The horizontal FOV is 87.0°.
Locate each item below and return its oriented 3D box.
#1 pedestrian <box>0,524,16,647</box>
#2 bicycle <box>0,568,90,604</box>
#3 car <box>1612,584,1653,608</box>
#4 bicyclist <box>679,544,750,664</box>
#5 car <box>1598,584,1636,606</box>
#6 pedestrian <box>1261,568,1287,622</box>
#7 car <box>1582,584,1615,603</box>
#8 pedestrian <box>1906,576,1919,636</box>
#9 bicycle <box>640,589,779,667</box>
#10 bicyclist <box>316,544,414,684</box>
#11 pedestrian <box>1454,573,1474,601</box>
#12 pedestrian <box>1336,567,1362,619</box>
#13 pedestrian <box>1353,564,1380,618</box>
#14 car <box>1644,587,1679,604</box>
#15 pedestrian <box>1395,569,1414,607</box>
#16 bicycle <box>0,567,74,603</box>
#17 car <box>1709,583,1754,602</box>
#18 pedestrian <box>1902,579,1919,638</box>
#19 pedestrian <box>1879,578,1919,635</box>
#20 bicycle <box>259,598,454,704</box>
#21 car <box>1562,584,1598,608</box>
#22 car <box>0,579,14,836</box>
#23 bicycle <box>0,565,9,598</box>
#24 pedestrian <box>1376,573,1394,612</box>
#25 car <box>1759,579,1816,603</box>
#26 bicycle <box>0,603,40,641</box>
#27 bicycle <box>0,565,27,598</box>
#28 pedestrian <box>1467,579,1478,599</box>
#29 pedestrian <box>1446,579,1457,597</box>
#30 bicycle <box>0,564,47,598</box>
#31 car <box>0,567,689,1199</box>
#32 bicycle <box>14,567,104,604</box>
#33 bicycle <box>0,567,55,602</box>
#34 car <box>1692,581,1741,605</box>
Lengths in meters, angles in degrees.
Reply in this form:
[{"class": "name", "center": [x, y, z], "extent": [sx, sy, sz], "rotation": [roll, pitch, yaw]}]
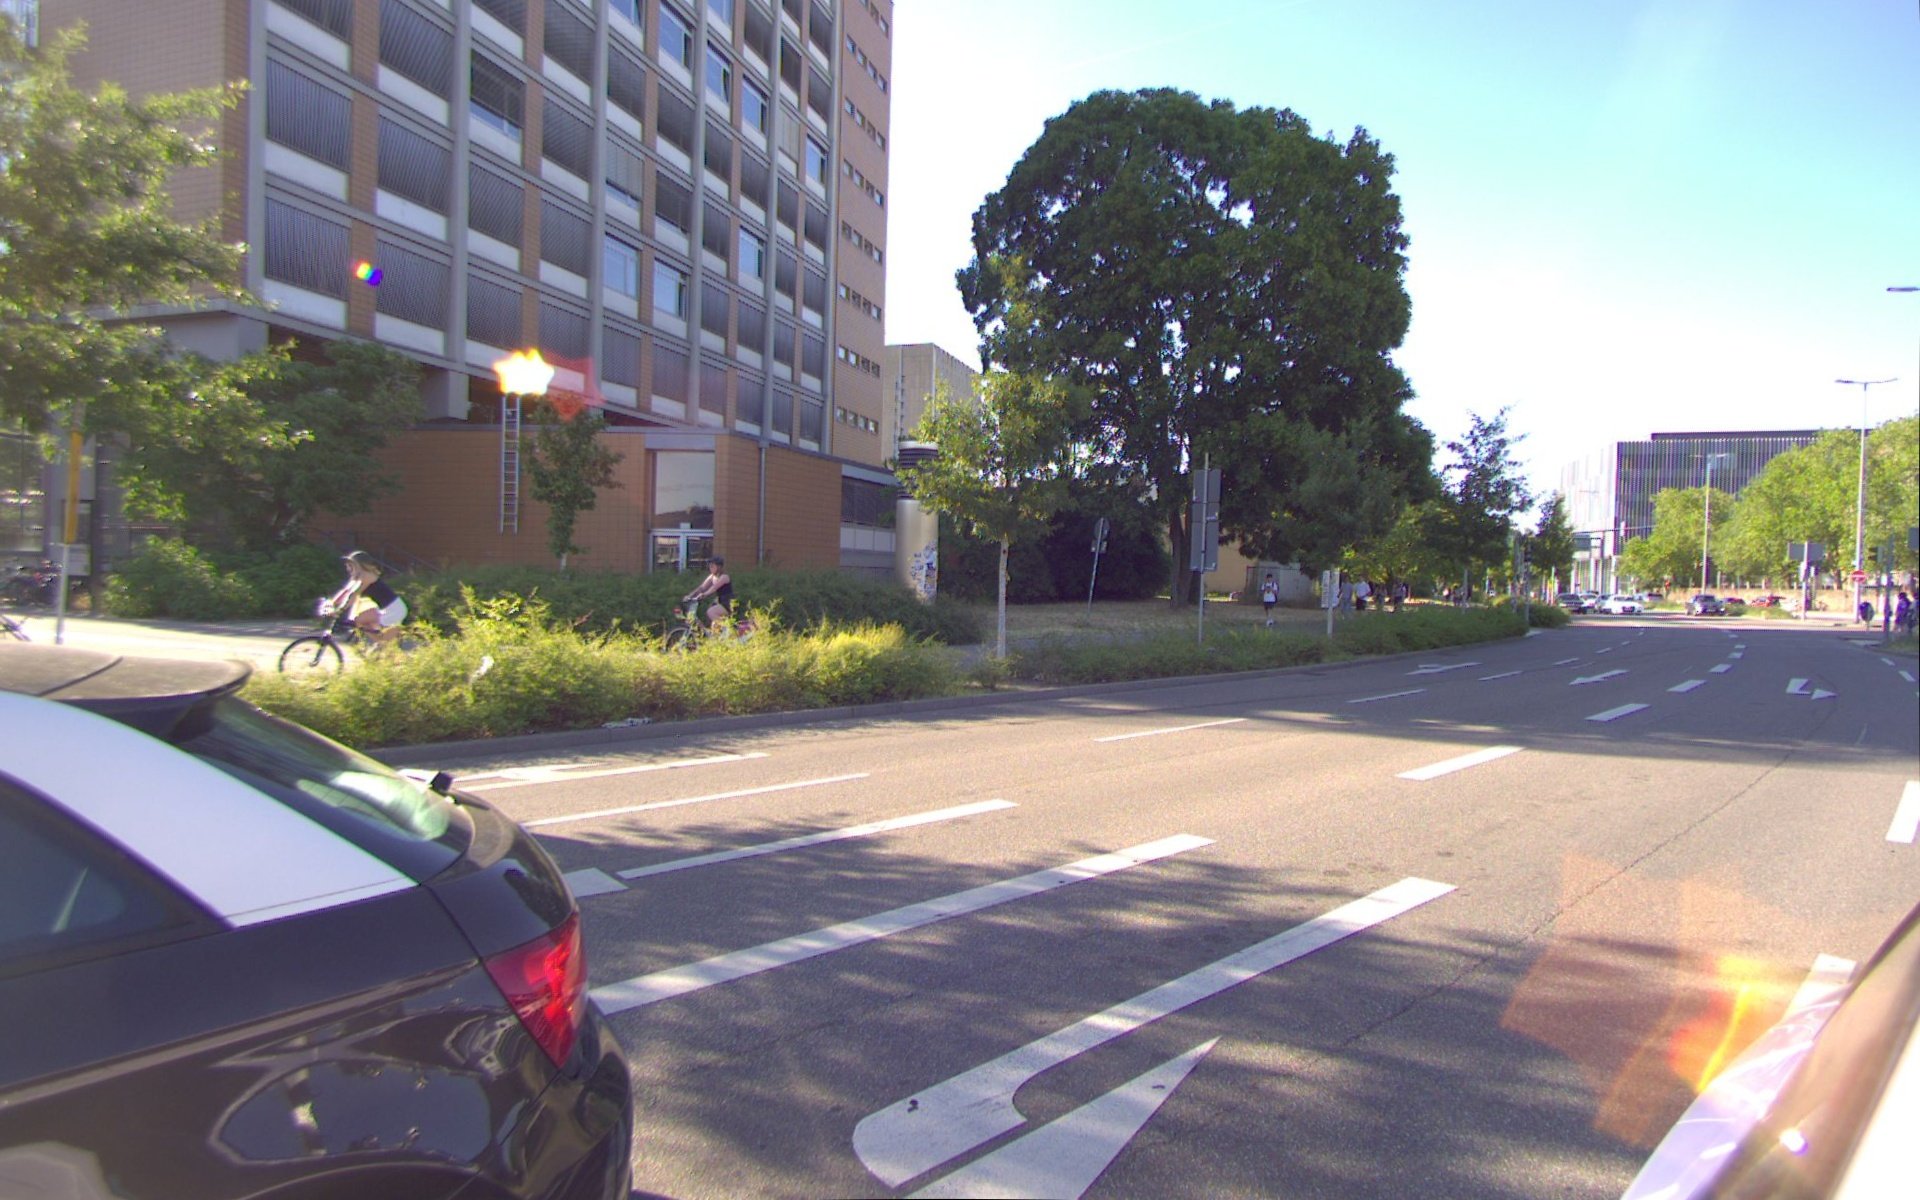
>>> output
[{"class": "pedestrian", "center": [-13.546, -0.194, 13.783], "extent": [0.774, 1.680, 0.810], "rotation": [0, -1, -24]}, {"class": "bicycle", "center": [-22.829, -0.364, 25.273], "extent": [0.522, 0.868, 1.644], "rotation": [2, 2, 18]}, {"class": "car", "center": [47.422, -0.290, 71.436], "extent": [1.786, 1.538, 4.391], "rotation": [2, 2, 26]}, {"class": "bicyclist", "center": [-3.846, 0.055, 15.839], "extent": [0.835, 1.810, 0.716], "rotation": [0, 0, -43]}, {"class": "car", "center": [50.591, -0.425, 77.986], "extent": [1.907, 1.538, 3.981], "rotation": [2, 2, 26]}, {"class": "pedestrian", "center": [10.161, -0.177, 32.717], "extent": [0.618, 1.720, 0.623], "rotation": [2, 1, 32]}, {"class": "car", "center": [53.154, -0.557, 84.314], "extent": [1.907, 1.538, 3.981], "rotation": [2, 2, 26]}, {"class": "pedestrian", "center": [28.868, 0.193, 30.139], "extent": [0.923, 1.762, 0.746], "rotation": [2, 1, 39]}, {"class": "bicycle", "center": [-3.880, 0.407, 15.800], "extent": [2.032, 1.135, 0.718], "rotation": [-1, 0, -43]}, {"class": "bicyclist", "center": [-6.995, 0.159, 11.892], "extent": [0.834, 1.568, 0.716], "rotation": [2, -1, -41]}, {"class": "pedestrian", "center": [32.559, -0.838, 65.391], "extent": [1.005, 1.771, 0.845], "rotation": [2, 1, 18]}, {"class": "pedestrian", "center": [14.234, -0.268, 37.074], "extent": [0.609, 1.892, 0.578], "rotation": [1, 1, -15]}, {"class": "pedestrian", "center": [14.675, -0.330, 36.527], "extent": [0.609, 1.892, 0.578], "rotation": [1, 1, -15]}, {"class": "car", "center": [74.038, -0.466, 106.851], "extent": [2.171, 1.704, 4.570], "rotation": [2, 2, 24]}, {"class": "pedestrian", "center": [20.743, -0.583, 47.243], "extent": [0.667, 1.725, 0.872], "rotation": [2, 1, 18]}, {"class": "bicycle", "center": [-23.379, -0.381, 25.436], "extent": [0.522, 0.868, 1.644], "rotation": [2, 2, 18]}, {"class": "car", "center": [70.216, -0.672, 92.184], "extent": [2.172, 1.606, 4.567], "rotation": [2, 0, 24]}, {"class": "pedestrian", "center": [29.354, 0.261, 30.765], "extent": [0.923, 1.762, 0.746], "rotation": [2, 2, 39]}, {"class": "pedestrian", "center": [29.919, 0.200, 32.174], "extent": [0.923, 1.762, 0.746], "rotation": [2, 1, 39]}, {"class": "bicycle", "center": [-7.037, 0.581, 11.851], "extent": [1.836, 1.135, 0.718], "rotation": [2, -1, -41]}, {"class": "car", "center": [43.958, -0.307, 71.862], "extent": [1.786, 1.538, 3.964], "rotation": [2, 2, 26]}, {"class": "car", "center": [-6.933, 0.621, 4.474], "extent": [3.908, 1.462, 1.804], "rotation": [0, 0, -40]}, {"class": "bicycle", "center": [-26.125, -0.492, 26.559], "extent": [0.522, 0.868, 1.644], "rotation": [2, 2, 18]}, {"class": "pedestrian", "center": [17.604, -0.314, 41.908], "extent": [0.616, 1.594, 0.634], "rotation": [2, 1, 24]}, {"class": "car", "center": [61.706, -0.636, 75.537], "extent": [2.173, 1.606, 4.566], "rotation": [2, 0, 25]}, {"class": "bicycle", "center": [-14.517, 0.327, 14.921], "extent": [0.428, 0.546, 1.340], "rotation": [4, 2, 35]}, {"class": "bicycle", "center": [-25.490, -0.485, 26.413], "extent": [0.522, 0.868, 1.644], "rotation": [2, 2, 18]}, {"class": "pedestrian", "center": [43.570, -0.939, 86.087], "extent": [0.705, 1.734, 0.728], "rotation": [2, 1, 24]}, {"class": "pedestrian", "center": [43.155, -1.039, 88.880], "extent": [0.753, 1.562, 0.842], "rotation": [2, 2, 18]}, {"class": "bicycle", "center": [-24.801, -0.498, 26.248], "extent": [0.522, 0.868, 1.644], "rotation": [2, 2, 18]}, {"class": "car", "center": [-2.489, 0.691, 1.037], "extent": [3.912, 1.462, 1.802], "rotation": [0, 0, -44]}, {"class": "bicycle", "center": [-22.306, -0.360, 25.088], "extent": [0.522, 0.868, 1.644], "rotation": [2, 2, 18]}, {"class": "bicycle", "center": [-23.986, -0.402, 25.565], "extent": [0.522, 0.868, 1.644], "rotation": [2, 2, 18]}, {"class": "car", "center": [51.557, -0.488, 69.061], "extent": [1.907, 1.538, 3.981], "rotation": [2, 2, 26]}]
